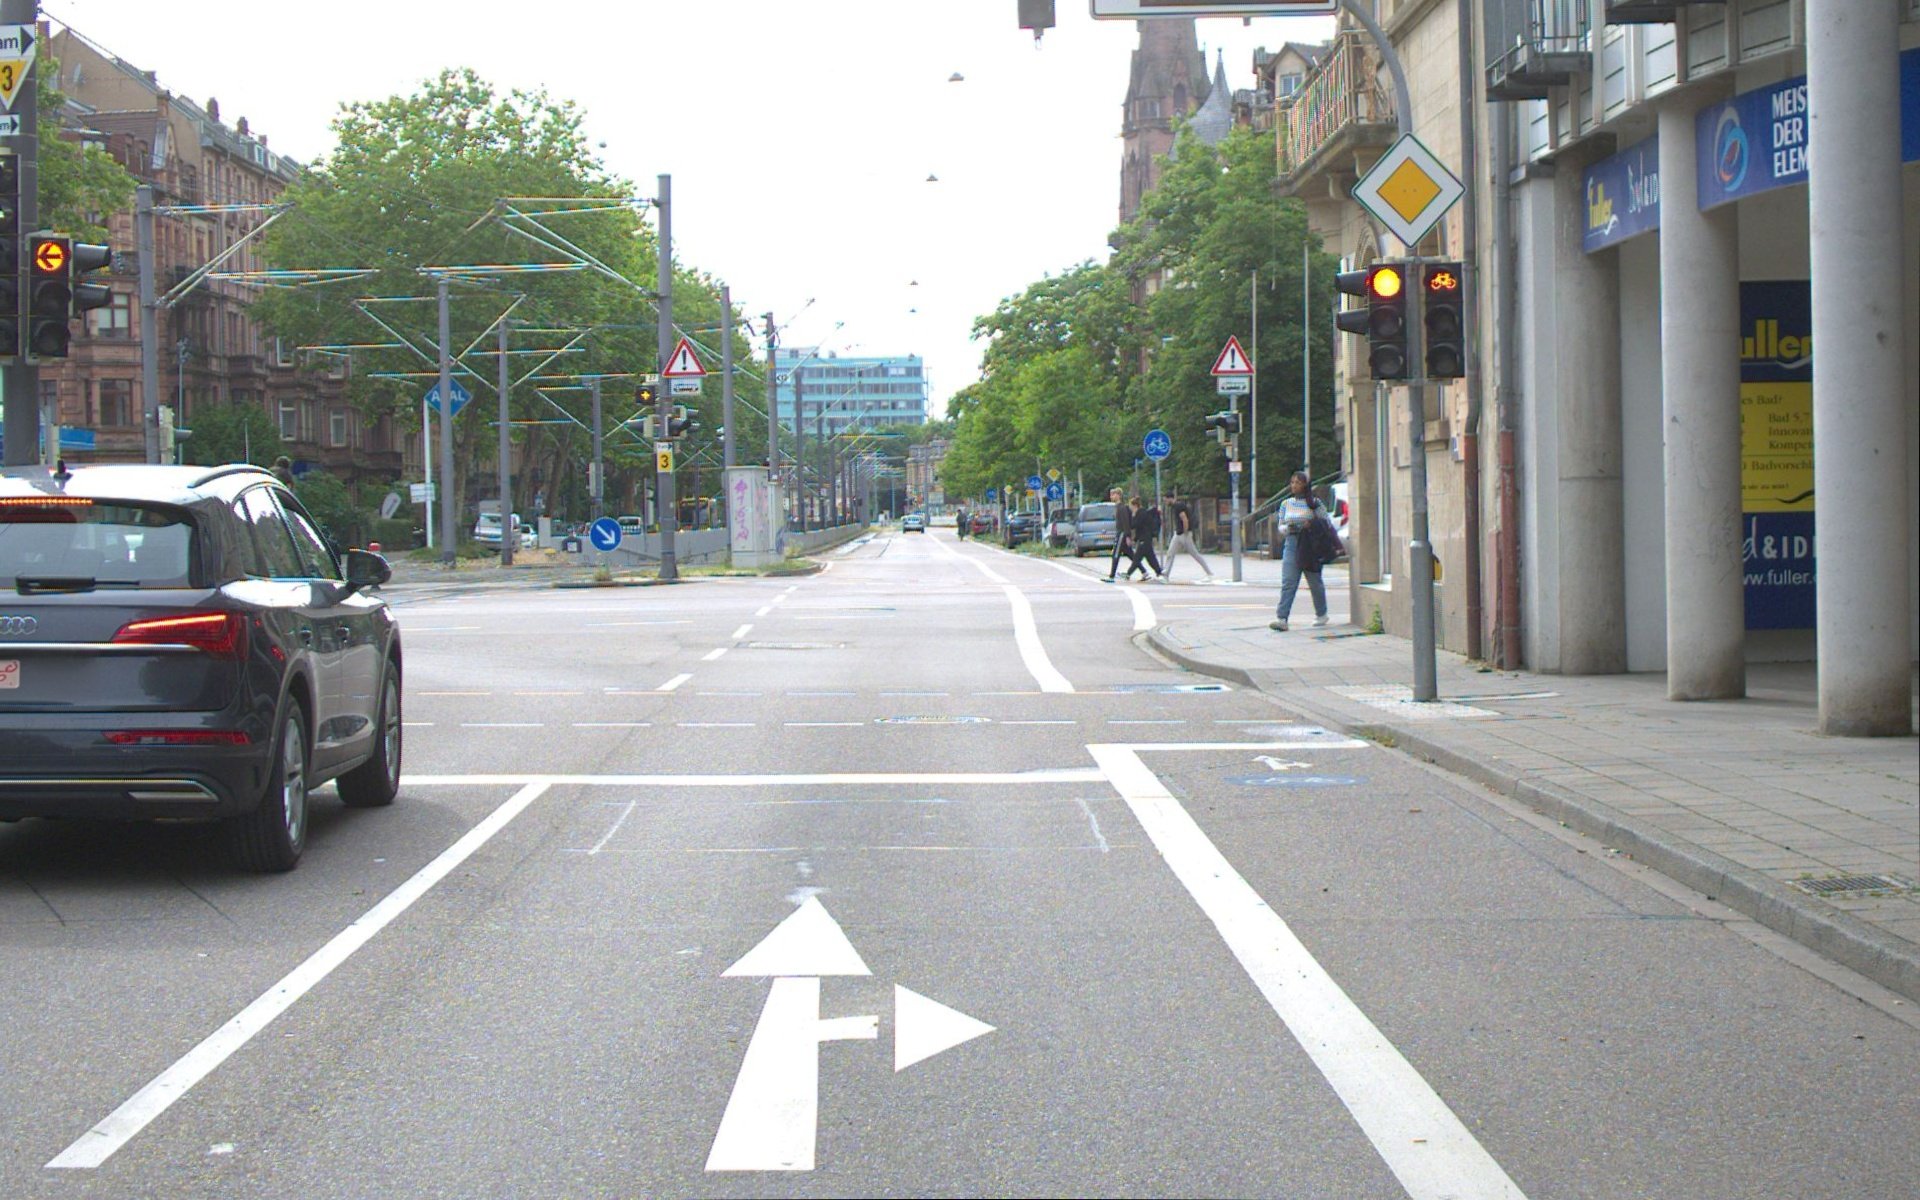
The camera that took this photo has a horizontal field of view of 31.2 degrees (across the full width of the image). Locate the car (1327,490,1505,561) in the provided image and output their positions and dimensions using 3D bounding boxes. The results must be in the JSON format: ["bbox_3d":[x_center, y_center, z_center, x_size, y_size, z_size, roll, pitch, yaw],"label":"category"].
[{"bbox_3d":[10.430,-1.717,78.876,3.799,1.595,2.000,0,1,0],"label":"car"}]

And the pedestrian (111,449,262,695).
[{"bbox_3d":[-5.699,-0.216,25.339,0.917,1.778,0.646,1,1,37],"label":"pedestrian"}]

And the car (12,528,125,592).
[{"bbox_3d":[-22.342,-1.029,86.236,1.894,1.552,3.837,0,1,-1],"label":"car"}]

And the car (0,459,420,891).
[{"bbox_3d":[-3.571,0.227,14.889,1.880,1.596,4.358,0,1,-2],"label":"car"}]

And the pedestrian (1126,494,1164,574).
[{"bbox_3d":[3.560,-1.264,66.149,0.653,1.531,0.466,0,1,-5],"label":"pedestrian"}]

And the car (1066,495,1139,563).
[{"bbox_3d":[4.294,-2.170,104.190,1.993,2.007,4.000,0,1,-1],"label":"car"}]

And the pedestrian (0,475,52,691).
[{"bbox_3d":[-7.291,-0.132,25.470,0.702,1.587,0.829,1,2,37],"label":"pedestrian"}]

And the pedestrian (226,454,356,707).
[{"bbox_3d":[-4.441,-0.137,22.854,0.728,1.656,0.756,0,1,-1],"label":"pedestrian"}]

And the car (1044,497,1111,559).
[{"bbox_3d":[3.870,-2.399,113.621,1.993,2.007,4.000,0,1,-1],"label":"car"}]

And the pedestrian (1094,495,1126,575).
[{"bbox_3d":[2.898,-1.256,66.542,0.545,1.531,0.466,0,1,-5],"label":"pedestrian"}]

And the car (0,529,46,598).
[{"bbox_3d":[-22.494,-0.861,79.255,1.894,1.552,3.837,0,1,-1],"label":"car"}]

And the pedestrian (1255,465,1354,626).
[{"bbox_3d":[3.639,-0.583,36.337,0.671,1.674,0.866,1,2,38],"label":"pedestrian"}]

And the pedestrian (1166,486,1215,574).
[{"bbox_3d":[4.323,-1.313,64.483,0.850,1.648,0.508,0,1,-3],"label":"pedestrian"}]

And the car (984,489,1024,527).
[{"bbox_3d":[2.369,-4.961,186.051,1.993,2.007,4.000,0,1,-1],"label":"car"}]

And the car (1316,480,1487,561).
[{"bbox_3d":[10.545,-1.915,82.284,3.799,1.897,2.000,0,1,0],"label":"car"}]
